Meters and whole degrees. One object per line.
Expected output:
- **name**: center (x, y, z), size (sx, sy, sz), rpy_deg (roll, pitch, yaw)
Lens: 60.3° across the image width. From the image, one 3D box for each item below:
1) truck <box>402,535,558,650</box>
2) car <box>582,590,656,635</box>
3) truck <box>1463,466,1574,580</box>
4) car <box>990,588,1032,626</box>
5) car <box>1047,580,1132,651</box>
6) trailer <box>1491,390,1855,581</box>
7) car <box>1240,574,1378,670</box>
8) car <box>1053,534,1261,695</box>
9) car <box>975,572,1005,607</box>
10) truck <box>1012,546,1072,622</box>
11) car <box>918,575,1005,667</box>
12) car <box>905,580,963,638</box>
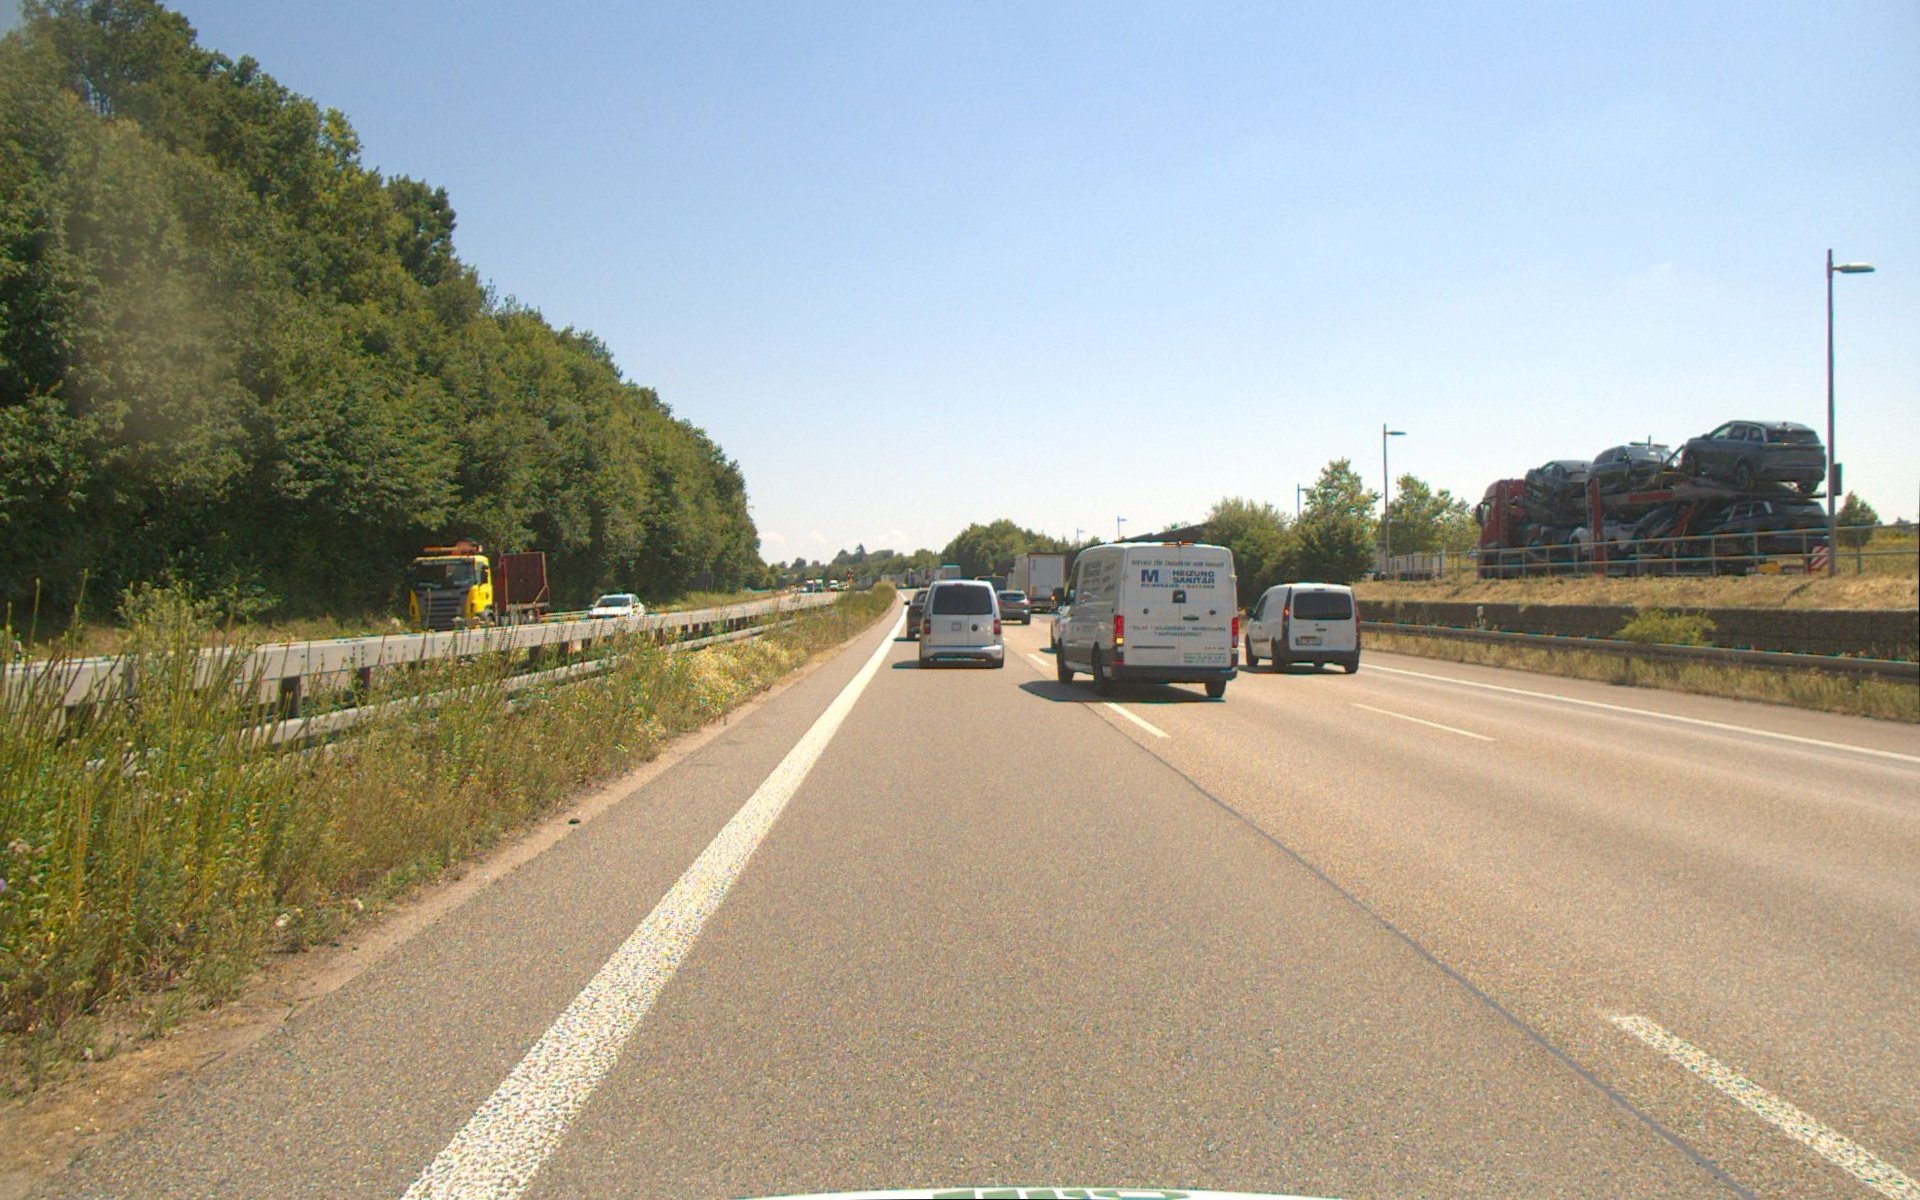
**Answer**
- **truck**: center (-17.489, -0.243, 61.184), size (2.726, 3.804, 11.154), rpy_deg (1, 0, -2)
- **car**: center (-14.047, 0.504, 68.418), size (1.953, 1.699, 5.610), rpy_deg (-3, 0, -1)
- **truck**: center (20.121, -2.714, 59.793), size (2.549, 3.894, 3.999), rpy_deg (1, 0, -1)
- **car**: center (2.366, 0.314, 77.697), size (1.863, 1.701, 4.088), rpy_deg (-1, 0, 0)
- **car**: center (3.392, 0.390, 44.016), size (1.935, 1.763, 4.088), rpy_deg (-1, 0, 0)
- **trailer**: center (20.314, -2.891, 49.443), size (2.552, 4.332, 18.416), rpy_deg (1, 0, -1)
- **car**: center (7.305, 0.439, 35.063), size (1.911, 1.870, 4.177), rpy_deg (-1, 0, -2)
- **car**: center (2.991, 0.219, 26.453), size (2.140, 2.293, 5.355), rpy_deg (1, 0, -6)
- **car**: center (1.710, -0.562, 94.685), size (1.640, 1.925, 4.088), rpy_deg (-1, 0, 0)
- **truck**: center (5.765, -1.093, 118.227), size (3.710, 5.087, 12.518), rpy_deg (1, 0, 0)
- **car**: center (0.052, 0.422, 35.064), size (1.709, 1.795, 4.088), rpy_deg (-1, 0, 0)
- **car**: center (-0.794, 0.275, 52.529), size (1.709, 1.731, 4.089), rpy_deg (-1, 0, 1)
